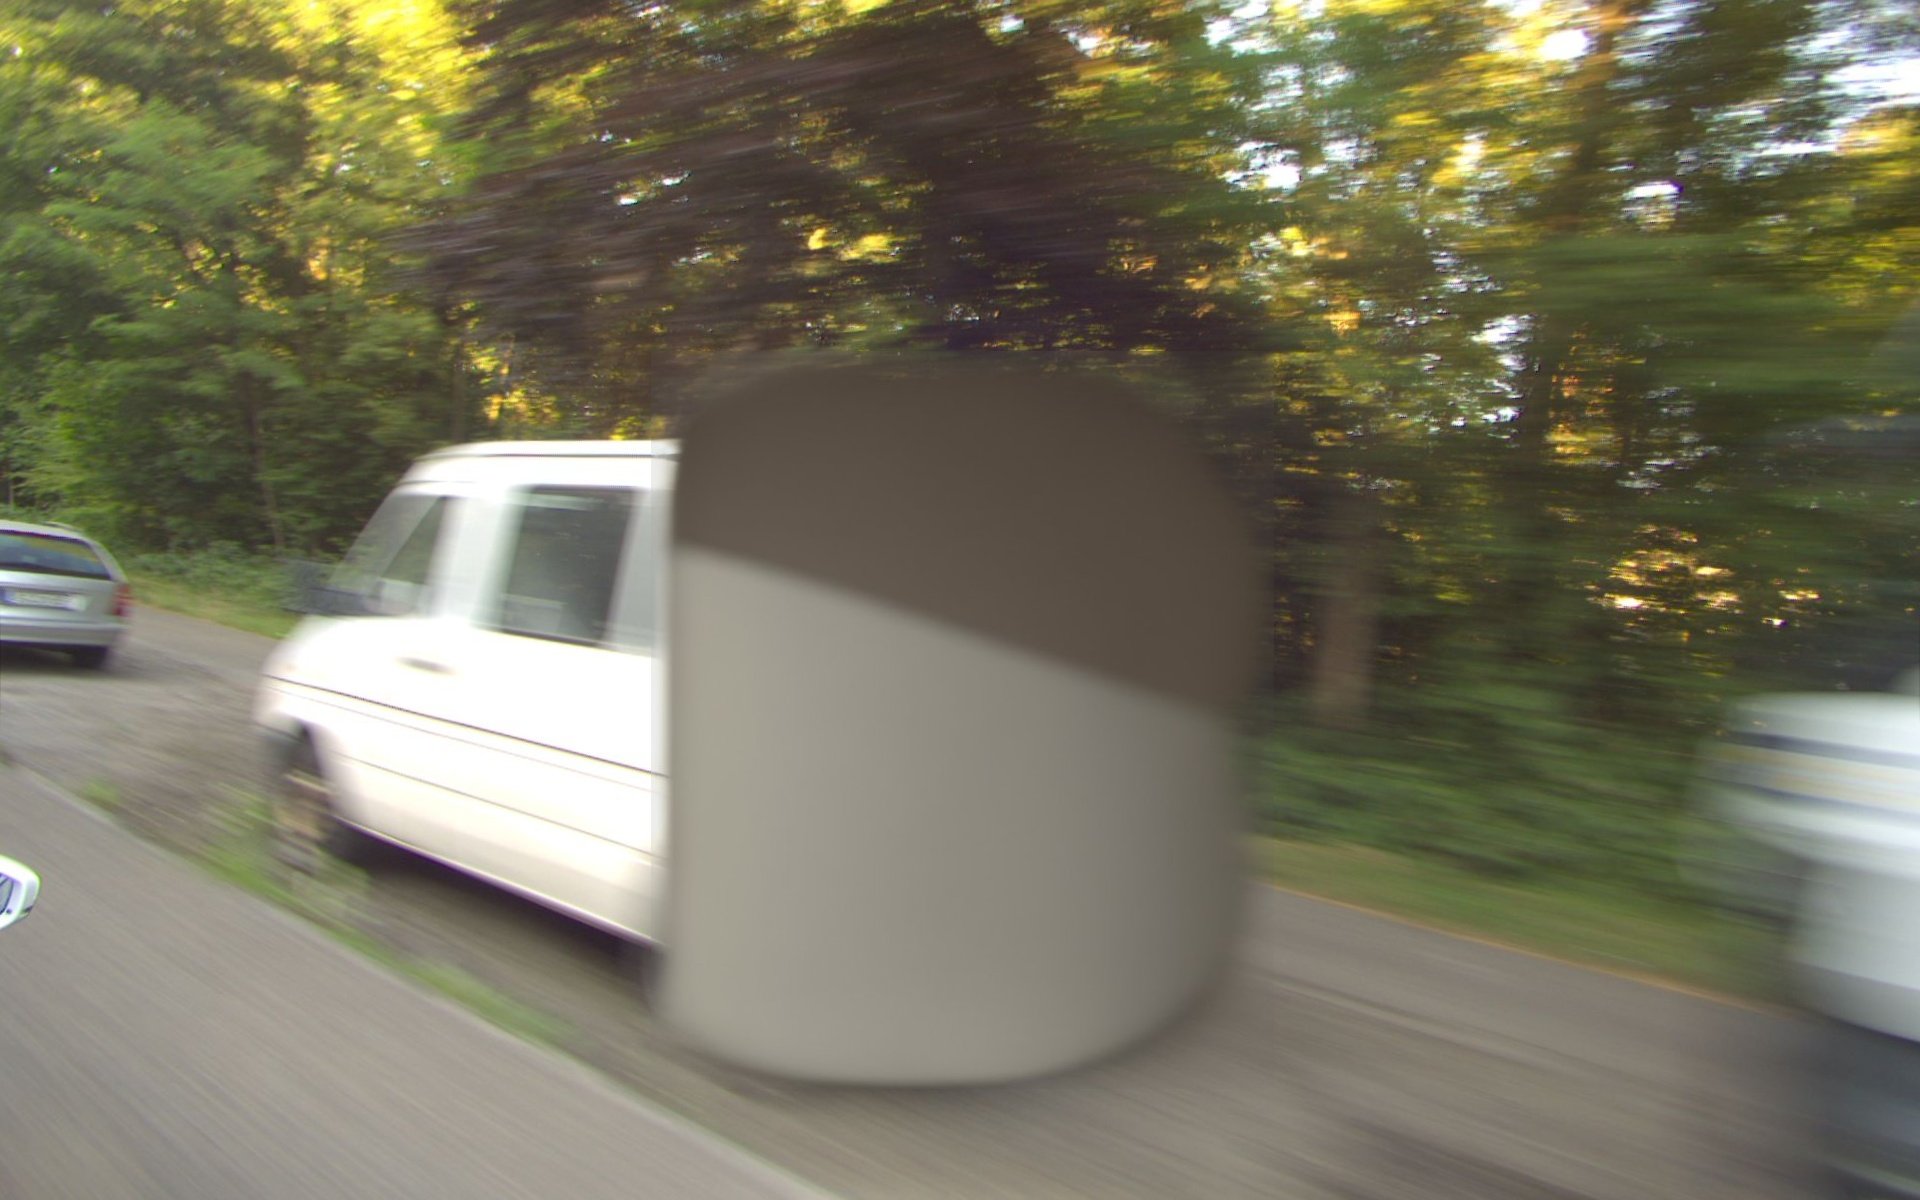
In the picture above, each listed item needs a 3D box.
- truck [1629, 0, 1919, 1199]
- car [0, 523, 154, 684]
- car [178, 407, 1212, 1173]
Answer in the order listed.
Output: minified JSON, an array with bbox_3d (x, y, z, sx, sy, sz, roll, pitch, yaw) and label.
[{"bbox_3d":[6.269,0.298,0.332,9.560,4.076,2.662,7,-1,31],"label":"truck"},{"bbox_3d":[-10.407,-0.145,10.510,4.200,1.388,1.687,6,-3,32],"label":"car"},{"bbox_3d":[-1.537,0.429,5.036,4.847,2.214,1.998,6,-3,32],"label":"car"}]
